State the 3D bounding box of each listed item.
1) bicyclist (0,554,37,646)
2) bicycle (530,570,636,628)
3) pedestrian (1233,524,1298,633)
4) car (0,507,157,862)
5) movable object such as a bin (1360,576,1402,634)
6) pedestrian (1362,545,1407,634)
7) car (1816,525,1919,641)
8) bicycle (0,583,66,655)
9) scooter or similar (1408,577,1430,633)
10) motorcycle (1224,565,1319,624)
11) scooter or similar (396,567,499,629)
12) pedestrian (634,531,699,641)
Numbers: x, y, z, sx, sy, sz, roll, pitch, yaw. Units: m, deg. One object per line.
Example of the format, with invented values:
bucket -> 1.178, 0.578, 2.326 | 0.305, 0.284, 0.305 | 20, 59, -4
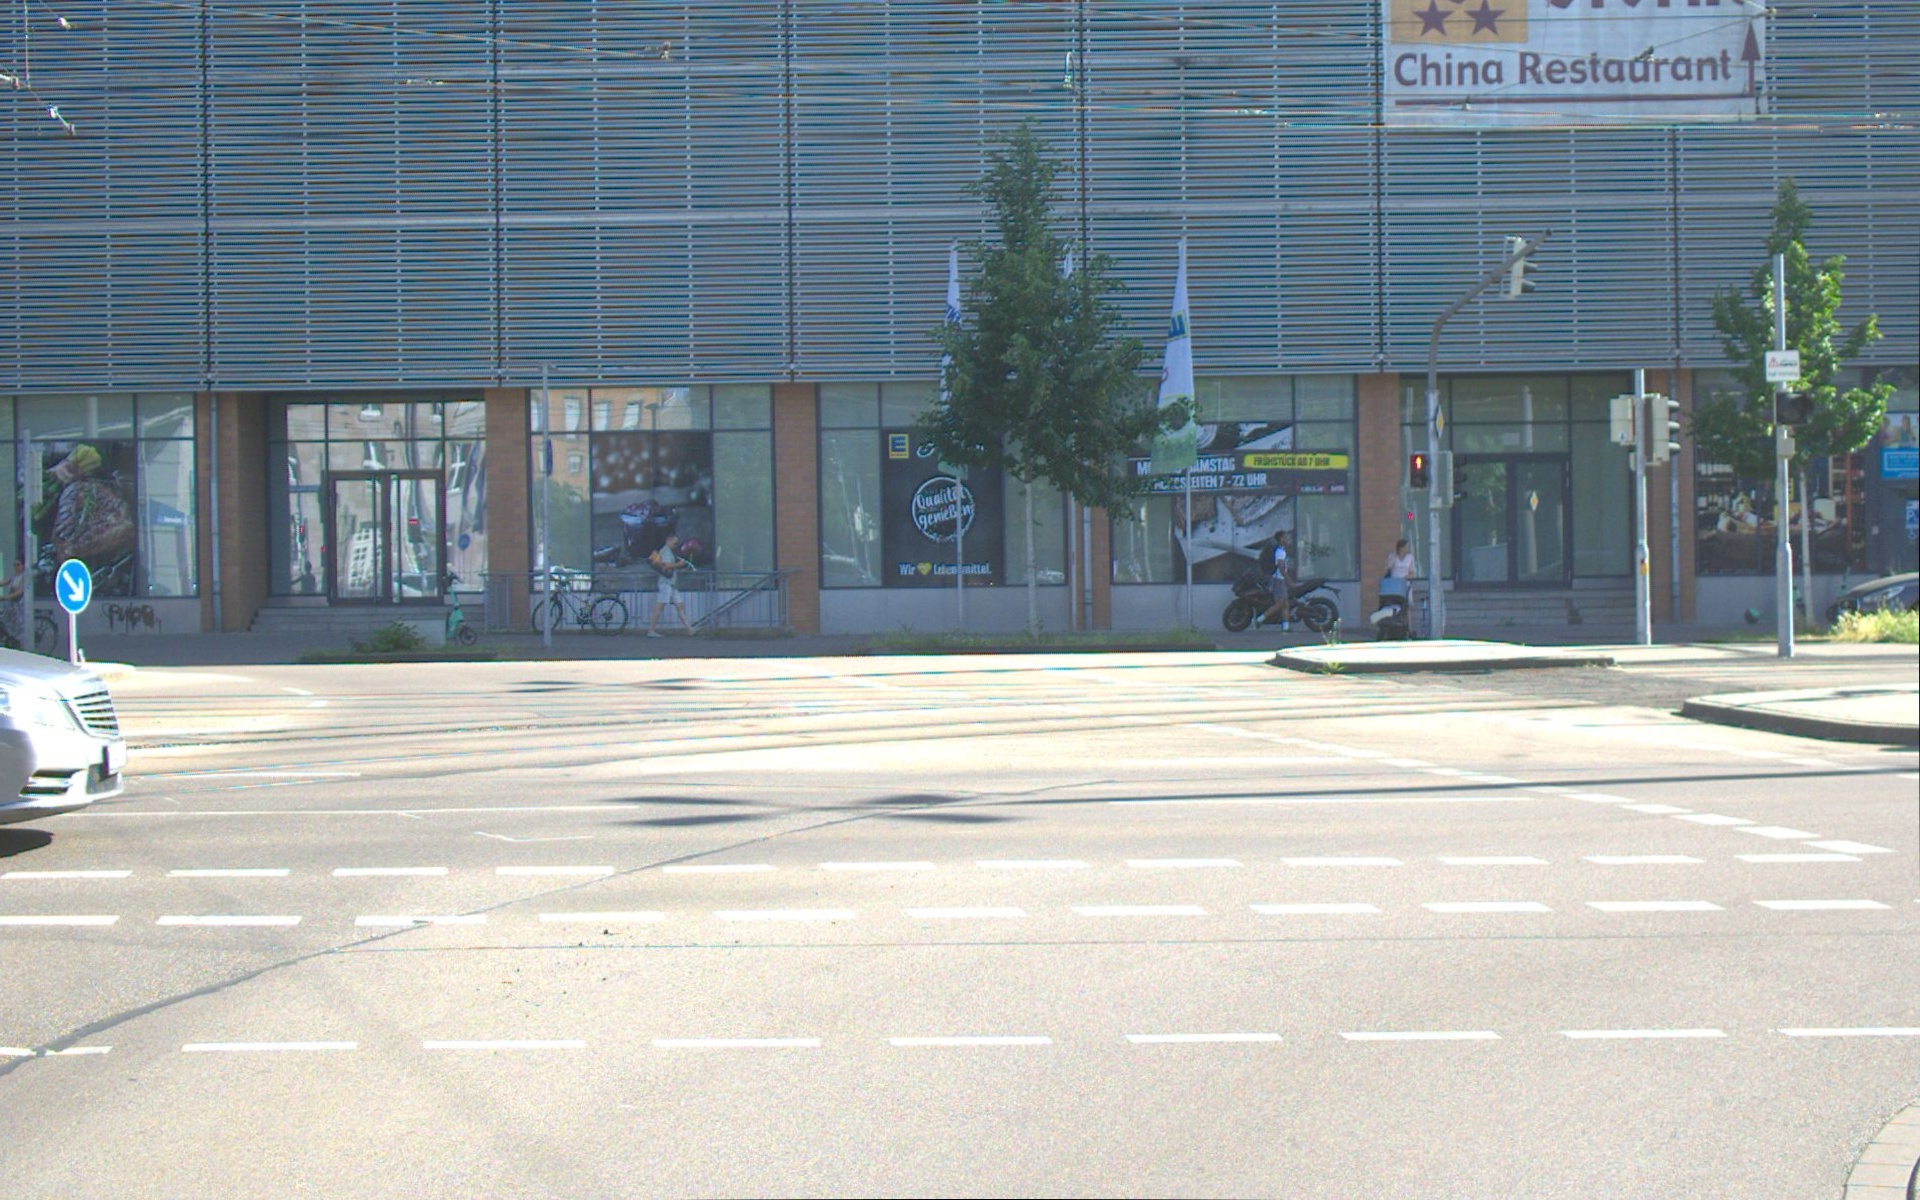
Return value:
bicyclist -> -15.277, 0.002, 54.779 | 0.675, 1.422, 0.847 | 1, 3, 43
bicycle -> -6.647, -0.016, 60.541 | 1.815, 0.986, 0.558 | -1, 2, -10
pedestrian -> 5.249, -0.373, 59.129 | 1.012, 1.822, 1.035 | -2, 1, 3
car -> -6.307, 0.375, 15.862 | 4.855, 1.567, 1.707 | 0, 1, -5
movable object such as a bin -> 6.714, 0.080, 54.806 | 0.613, 0.901, 0.968 | 1, 0, 10
pedestrian -> 6.833, -0.176, 55.267 | 0.655, 1.409, 0.849 | 1, 0, 10
car -> 13.756, -0.142, 45.845 | 4.146, 1.464, 1.841 | 3, 0, -1
bicycle -> -15.243, 0.311, 54.859 | 0.568, 1.082, 1.859 | 1, 3, 43
scooter or similar -> 7.353, 0.076, 55.090 | 0.295, 0.870, 1.003 | 1, 0, 10
motorcycle -> 5.496, -0.101, 60.634 | 1.640, 1.001, 0.446 | 1, 1, 6
scooter or similar -> -9.077, -0.046, 60.923 | 1.792, 1.062, 0.613 | 0, 2, -8
pedestrian -> -5.073, -0.237, 59.511 | 0.950, 1.822, 0.845 | -2, -3, 5
